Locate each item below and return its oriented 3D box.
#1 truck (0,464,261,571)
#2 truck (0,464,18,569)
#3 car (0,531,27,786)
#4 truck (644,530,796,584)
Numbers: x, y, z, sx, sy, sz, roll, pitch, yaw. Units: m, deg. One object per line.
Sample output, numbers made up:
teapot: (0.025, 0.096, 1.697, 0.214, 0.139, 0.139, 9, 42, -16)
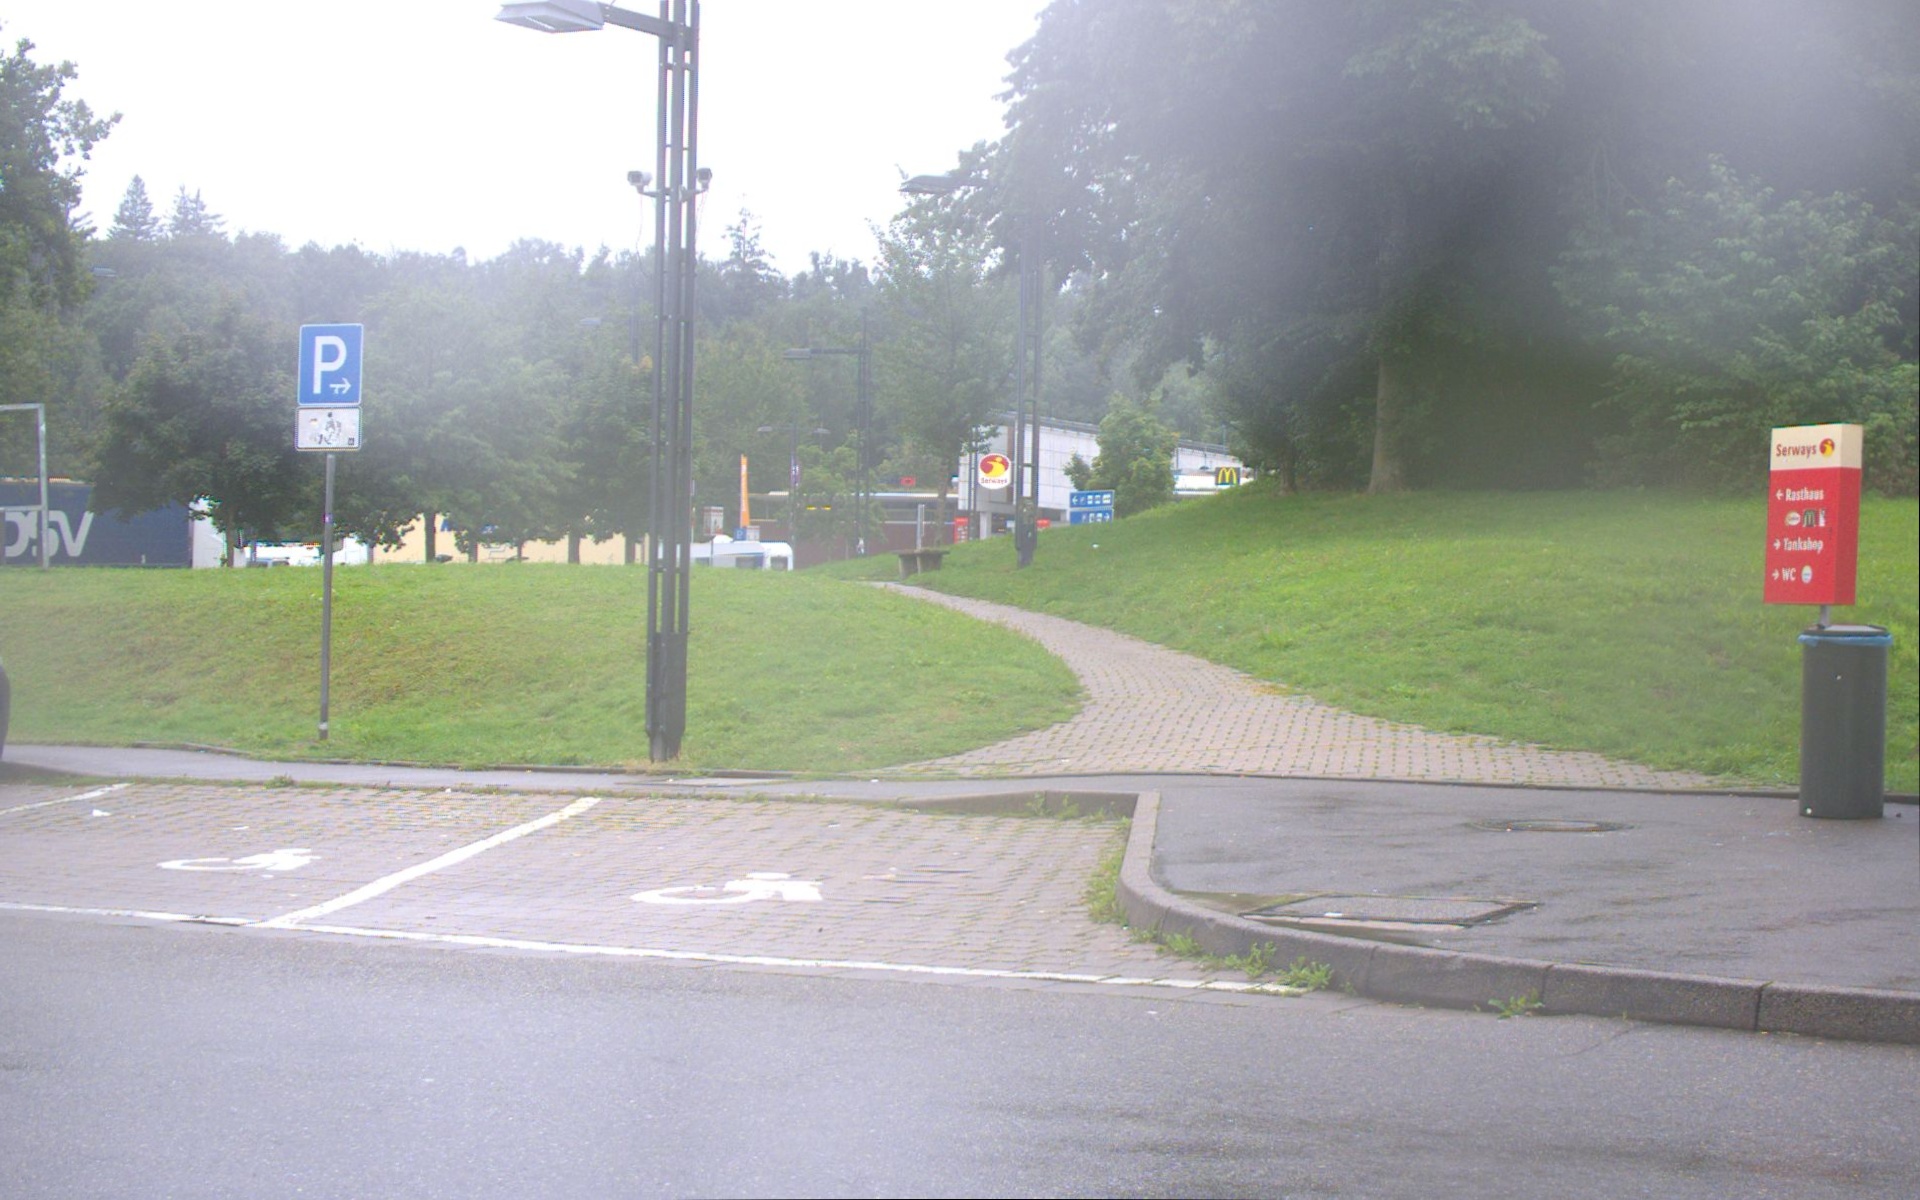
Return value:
truck: (-25.466, -2.366, 101.623, 2.188, 2.910, 13.082, 1, 1, 24)
truck: (-28.604, -2.340, 94.653, 2.189, 2.910, 5.380, 1, 1, 24)
car: (-7.799, 0.455, 21.487, 2.018, 1.705, 4.341, -1, 1, 12)
truck: (-9.330, -1.666, 133.801, 5.413, 2.007, 2.364, 1, 1, 25)
